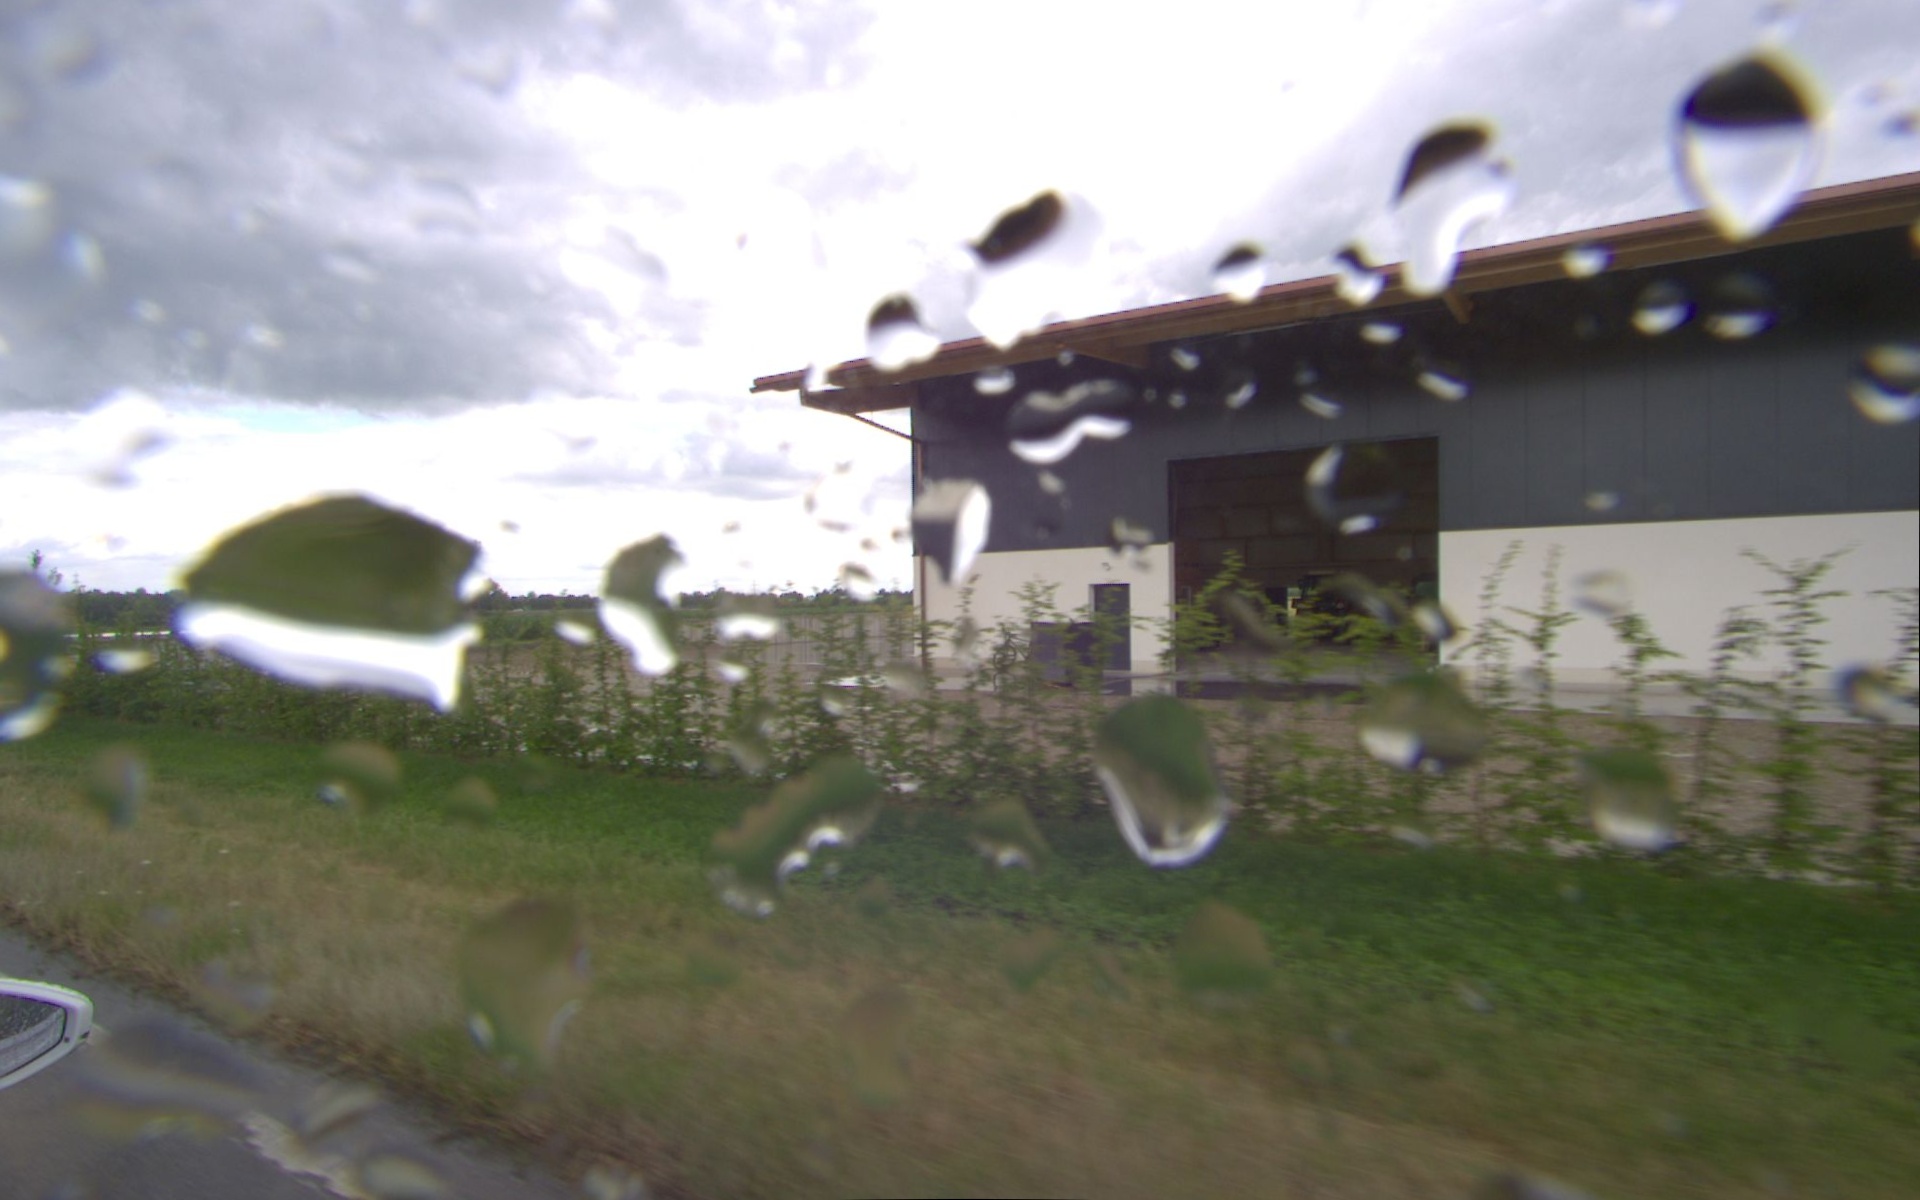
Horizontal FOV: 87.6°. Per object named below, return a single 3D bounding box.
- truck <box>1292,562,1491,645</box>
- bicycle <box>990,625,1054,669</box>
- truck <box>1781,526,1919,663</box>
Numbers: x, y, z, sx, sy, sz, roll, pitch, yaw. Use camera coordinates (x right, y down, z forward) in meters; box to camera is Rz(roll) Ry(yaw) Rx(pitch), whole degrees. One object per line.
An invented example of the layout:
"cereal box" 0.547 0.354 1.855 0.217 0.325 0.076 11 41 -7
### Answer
"truck" 14.829 0.157 34.585 6.068 2.642 2.113 -1 0 33
"bicycle" 1.588 1.199 25.792 1.637 1.086 0.389 -1 1 32
"truck" 22.438 -0.140 22.948 5.267 3.053 2.485 -1 1 32
